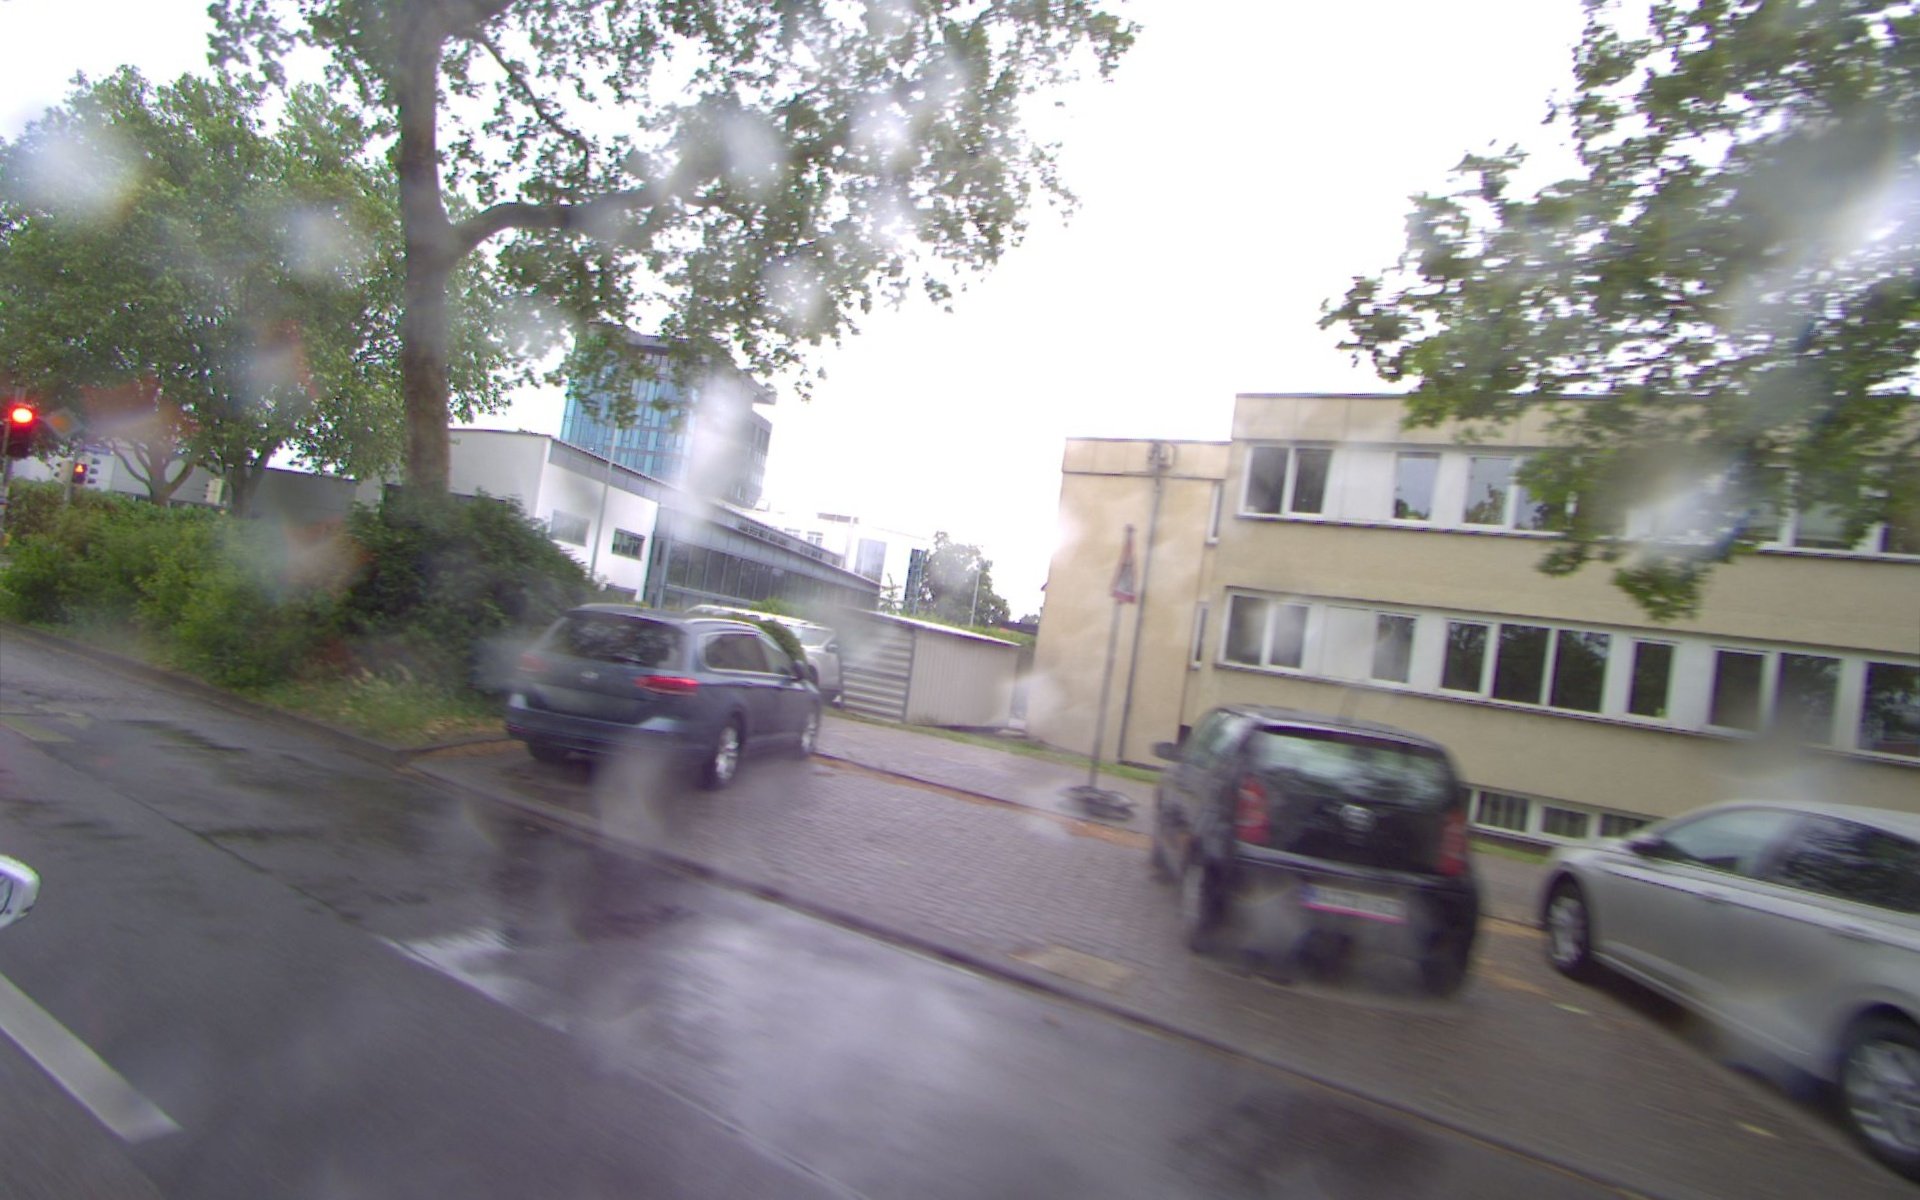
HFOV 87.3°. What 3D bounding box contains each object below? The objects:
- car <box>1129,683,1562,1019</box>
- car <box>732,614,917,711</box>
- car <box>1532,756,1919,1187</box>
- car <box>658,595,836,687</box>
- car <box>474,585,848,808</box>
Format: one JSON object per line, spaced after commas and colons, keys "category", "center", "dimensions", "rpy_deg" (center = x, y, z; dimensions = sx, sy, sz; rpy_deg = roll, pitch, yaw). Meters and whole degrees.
{"category": "car", "center": [2.353, 1.474, 7.196], "dimensions": [1.716, 1.432, 3.698], "rpy_deg": [8, -3, 4]}
{"category": "car", "center": [-3.023, 1.530, 23.492], "dimensions": [1.719, 1.776, 4.551], "rpy_deg": [7, -3, 30]}
{"category": "car", "center": [4.859, 1.827, 5.178], "dimensions": [1.742, 1.432, 3.698], "rpy_deg": [8, -3, 4]}
{"category": "car", "center": [-5.241, 1.106, 25.445], "dimensions": [1.749, 1.776, 4.553], "rpy_deg": [7, -3, 27]}
{"category": "car", "center": [-2.582, 0.890, 10.033], "dimensions": [1.716, 1.475, 4.504], "rpy_deg": [8, -3, 8]}
